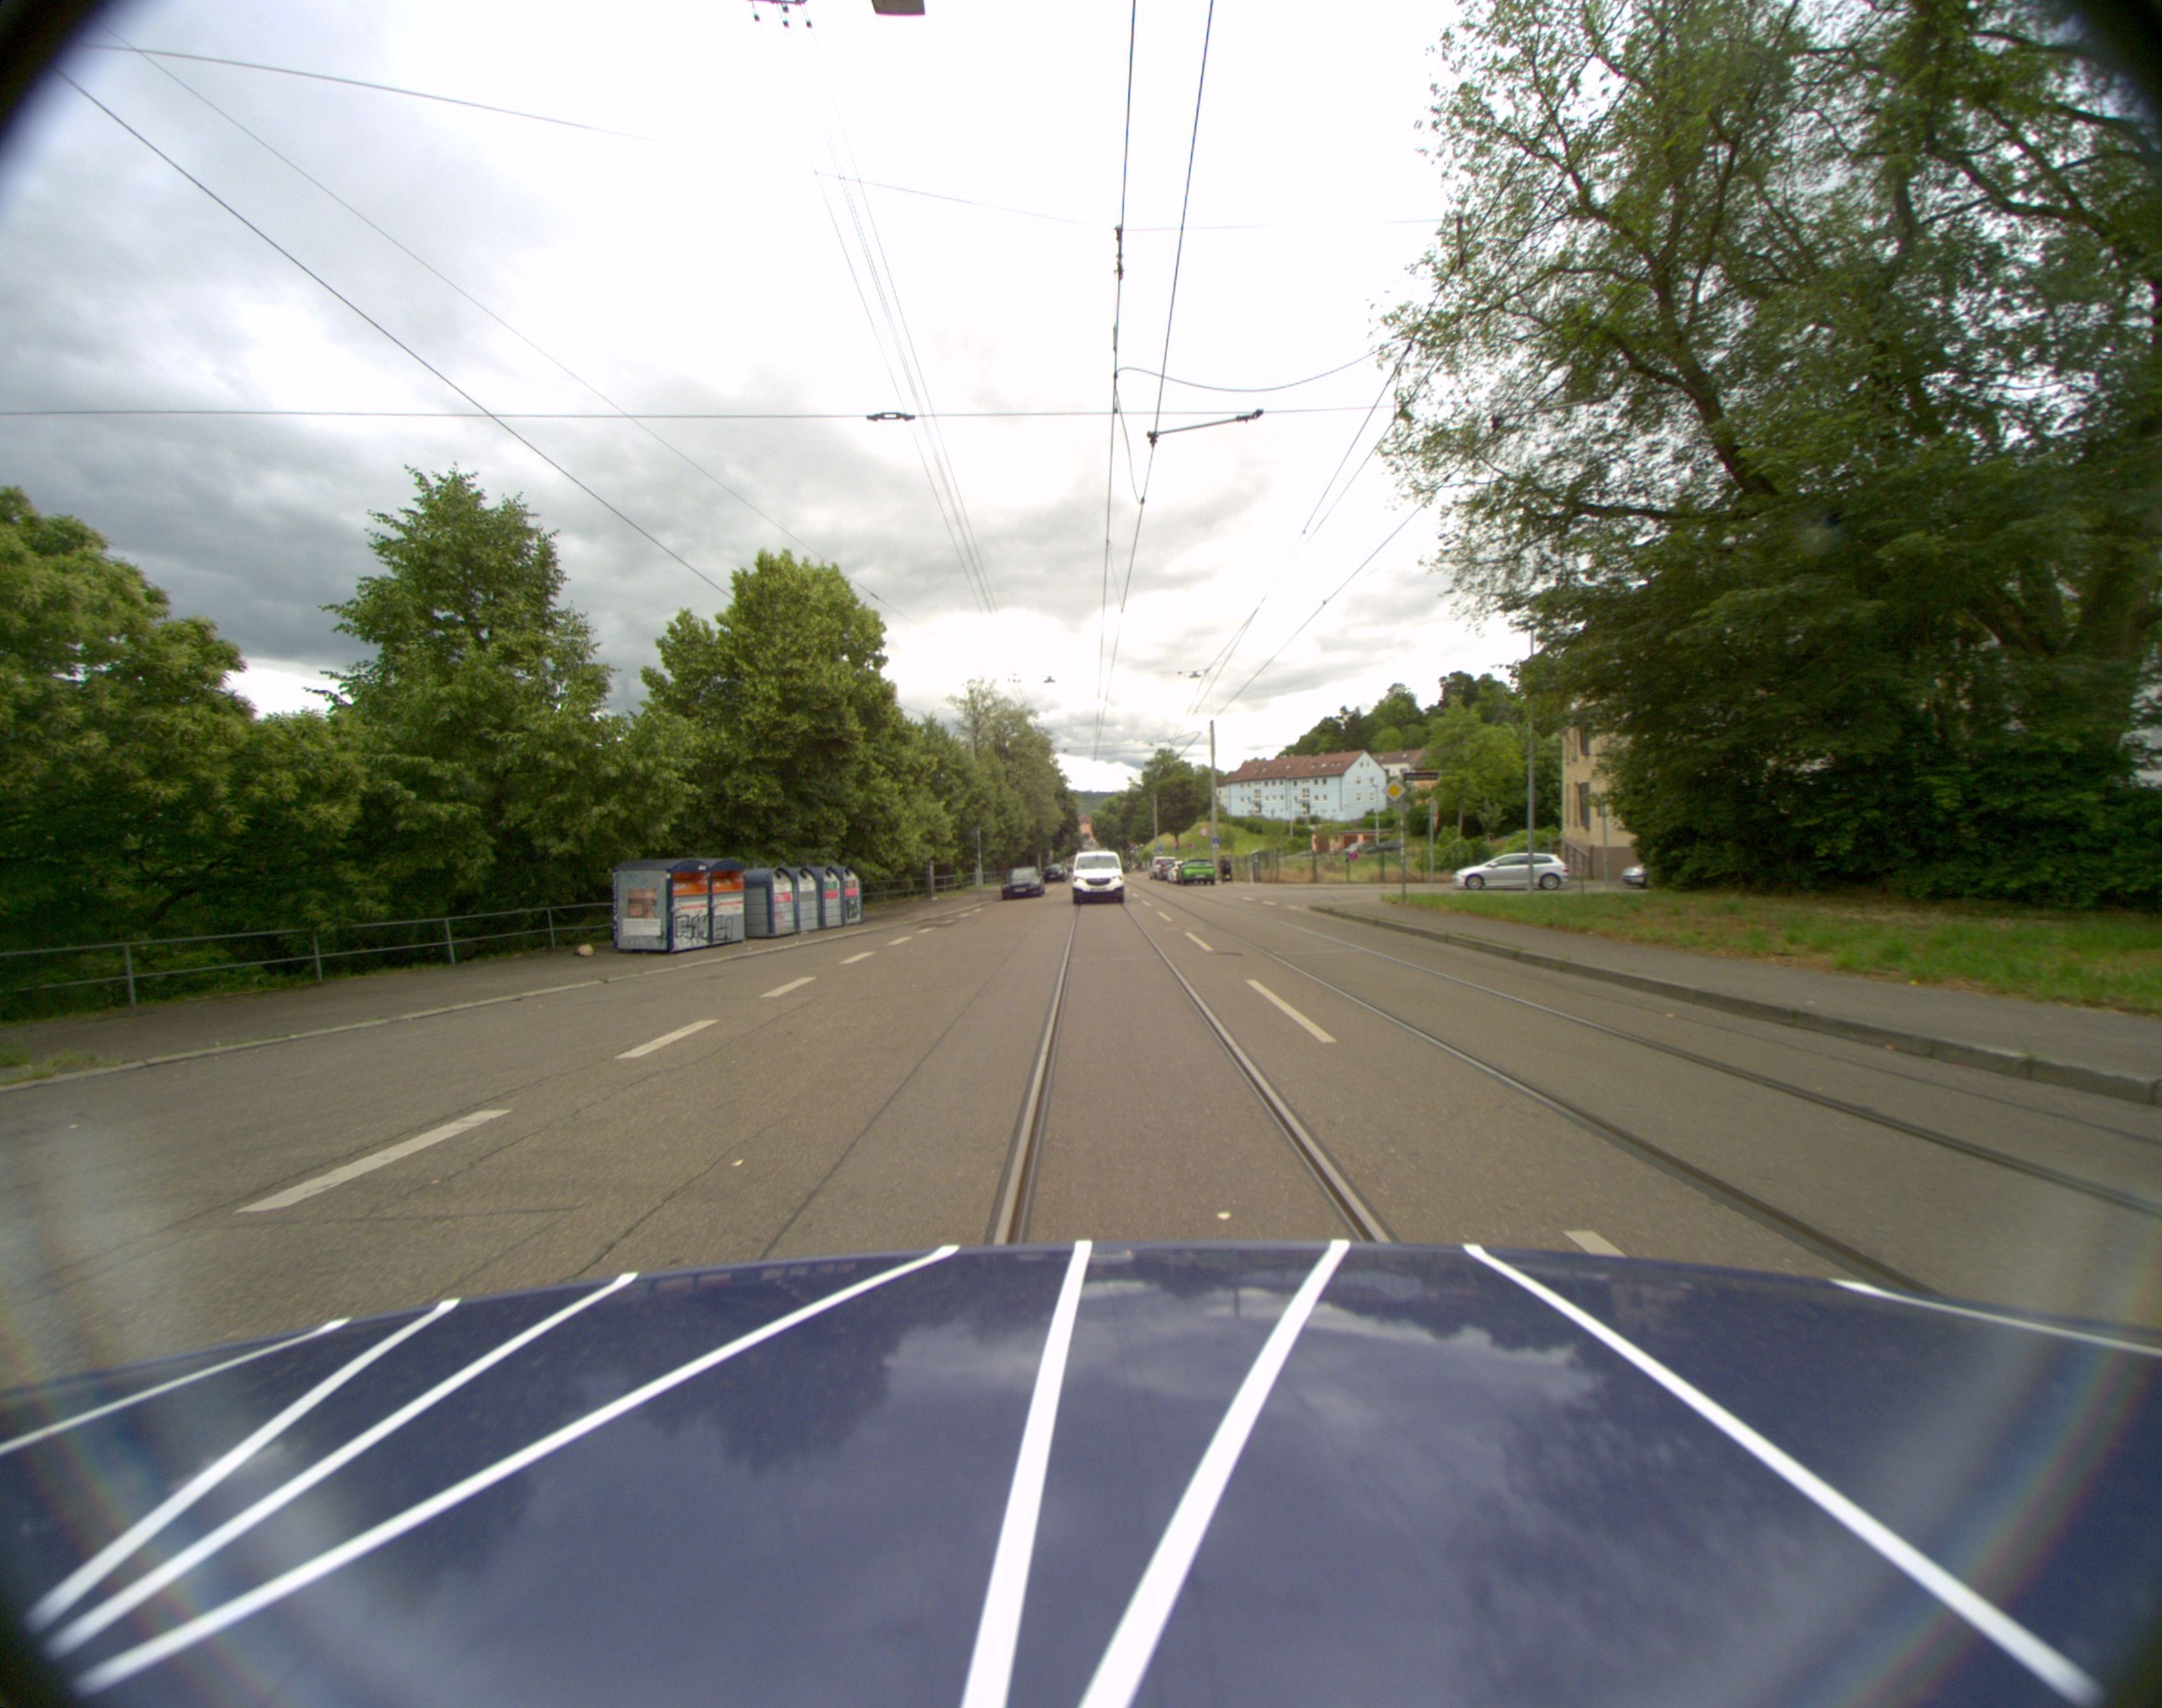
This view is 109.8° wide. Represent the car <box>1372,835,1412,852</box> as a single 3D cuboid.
[{"bbox_3d":[36.958,-1.229,90.389,3.989,1.892,2.004,-2,0,40],"label":"car"}]

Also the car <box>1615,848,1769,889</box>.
[{"bbox_3d":[21.853,0.525,27.389,4.039,1.369,1.698,-1,0,25],"label":"car"}]

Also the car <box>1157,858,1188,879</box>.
[{"bbox_3d":[6.833,1.093,57.132,1.856,1.485,3.948,0,0,1],"label":"car"}]

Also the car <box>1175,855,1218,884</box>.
[{"bbox_3d":[6.479,0.854,42.922,1.856,1.531,3.948,-2,0,1],"label":"car"}]

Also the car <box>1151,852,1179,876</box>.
[{"bbox_3d":[6.916,0.774,62.704,1.901,1.935,4.291,0,0,1],"label":"car"}]

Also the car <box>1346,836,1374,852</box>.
[{"bbox_3d":[34.584,-1.238,94.070,1.994,1.892,4.008,-2,0,40],"label":"car"}]

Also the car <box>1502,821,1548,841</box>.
[{"bbox_3d":[47.775,-2.454,81.735,3.989,1.892,2.004,-2,0,40],"label":"car"}]

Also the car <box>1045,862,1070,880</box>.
[{"bbox_3d":[-2.063,1.479,66.772,1.822,1.344,3.941,-4,-1,2],"label":"car"}]

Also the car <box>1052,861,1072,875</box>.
[{"bbox_3d":[-2.095,1.537,83.765,1.822,1.344,3.941,-4,-1,2],"label":"car"}]

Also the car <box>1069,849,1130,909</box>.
[{"bbox_3d":[0.560,0.780,26.188,1.760,1.824,4.447,-2,0,-2],"label":"car"}]

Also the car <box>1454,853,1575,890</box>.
[{"bbox_3d":[16.945,0.670,29.917,4.004,1.369,1.698,-1,0,25],"label":"car"}]

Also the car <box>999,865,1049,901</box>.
[{"bbox_3d":[-2.671,1.334,36.453,1.863,1.434,4.388,-5,0,1],"label":"car"}]

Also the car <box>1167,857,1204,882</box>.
[{"bbox_3d":[6.658,0.952,48.676,1.856,1.485,3.948,0,0,1],"label":"car"}]
